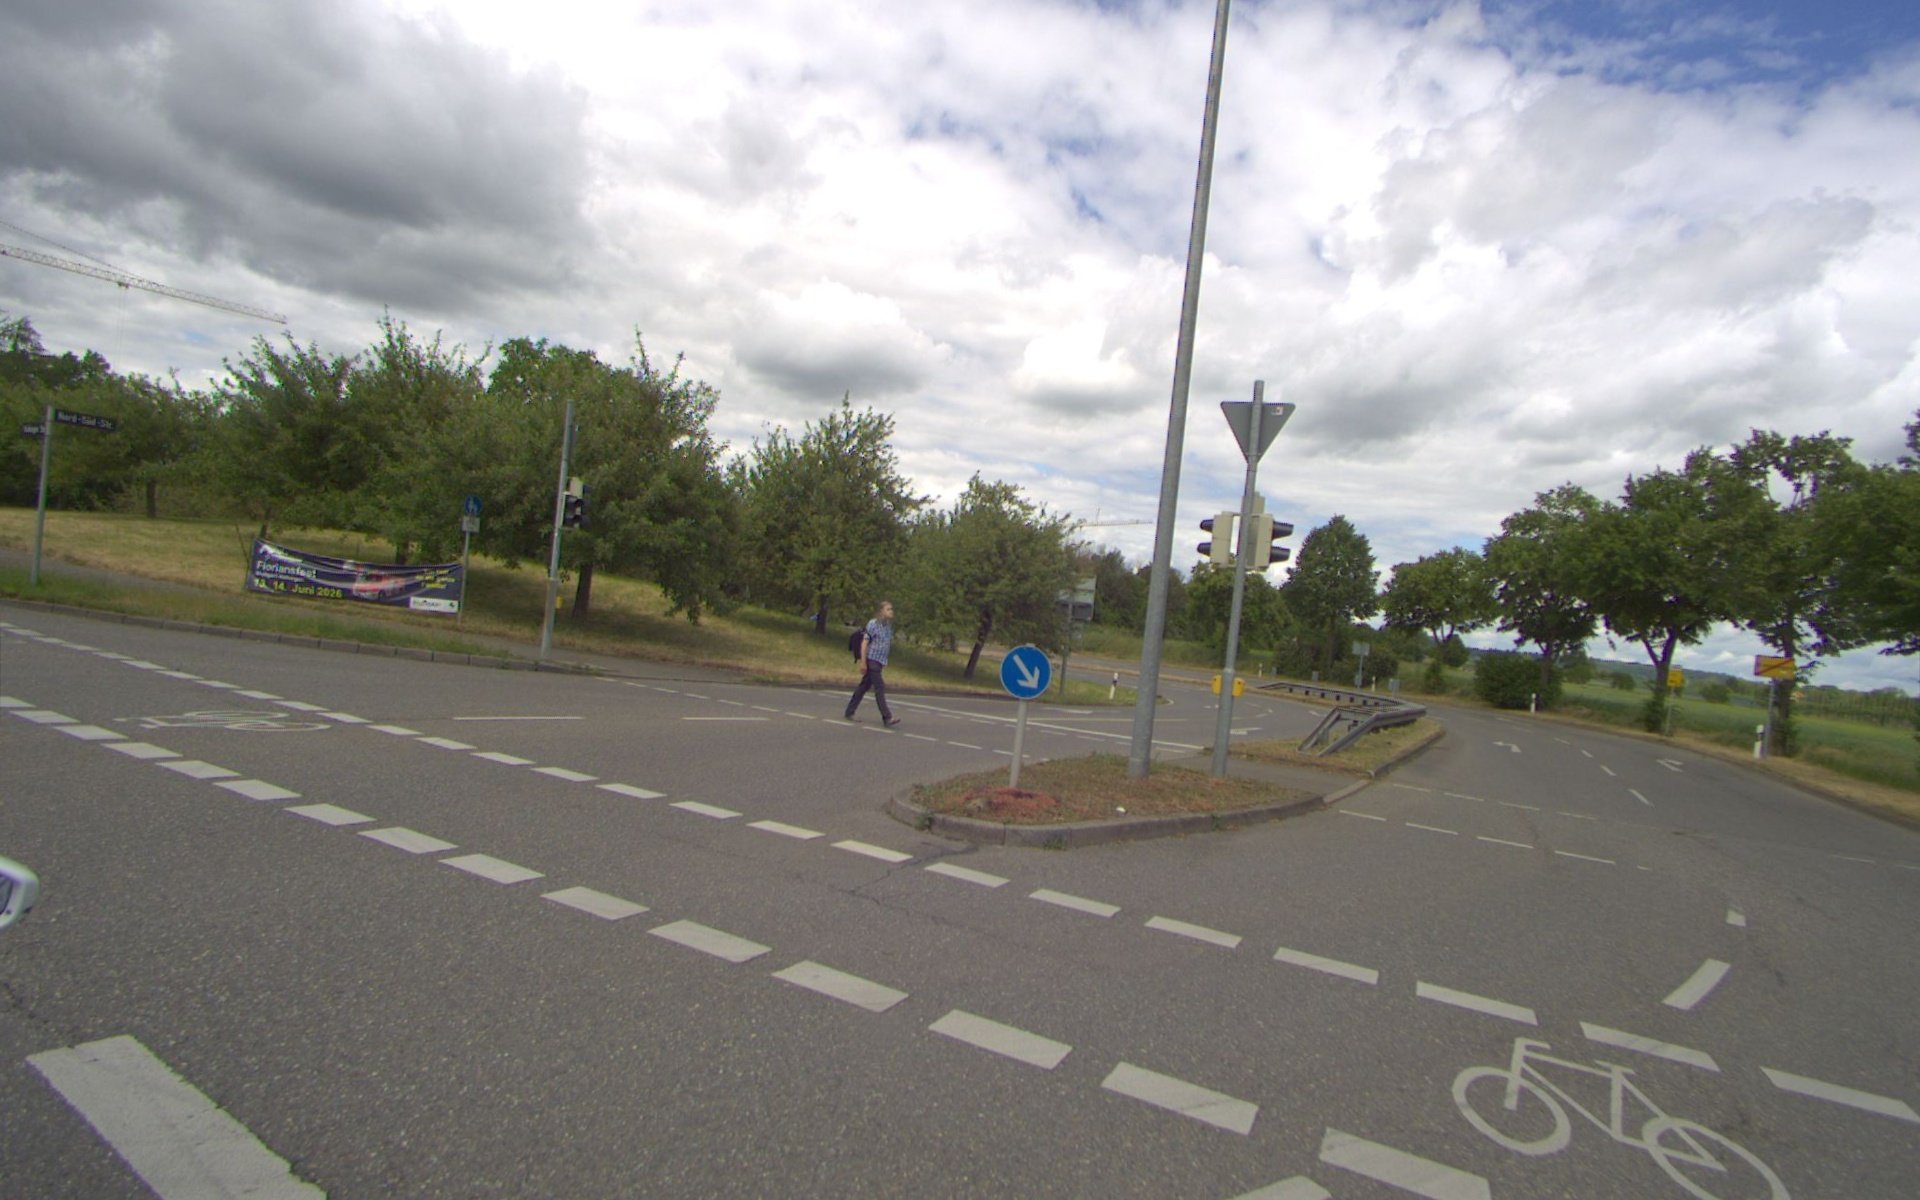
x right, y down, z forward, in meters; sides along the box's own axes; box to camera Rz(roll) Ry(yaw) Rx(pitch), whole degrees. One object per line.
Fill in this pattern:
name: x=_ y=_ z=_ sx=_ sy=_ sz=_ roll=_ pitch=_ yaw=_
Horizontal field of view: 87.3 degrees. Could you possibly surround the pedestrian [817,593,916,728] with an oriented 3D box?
pedestrian: x=-1.360 y=0.874 z=14.648 sx=1.026 sy=1.813 sz=0.719 roll=6 pitch=-1 yaw=32
